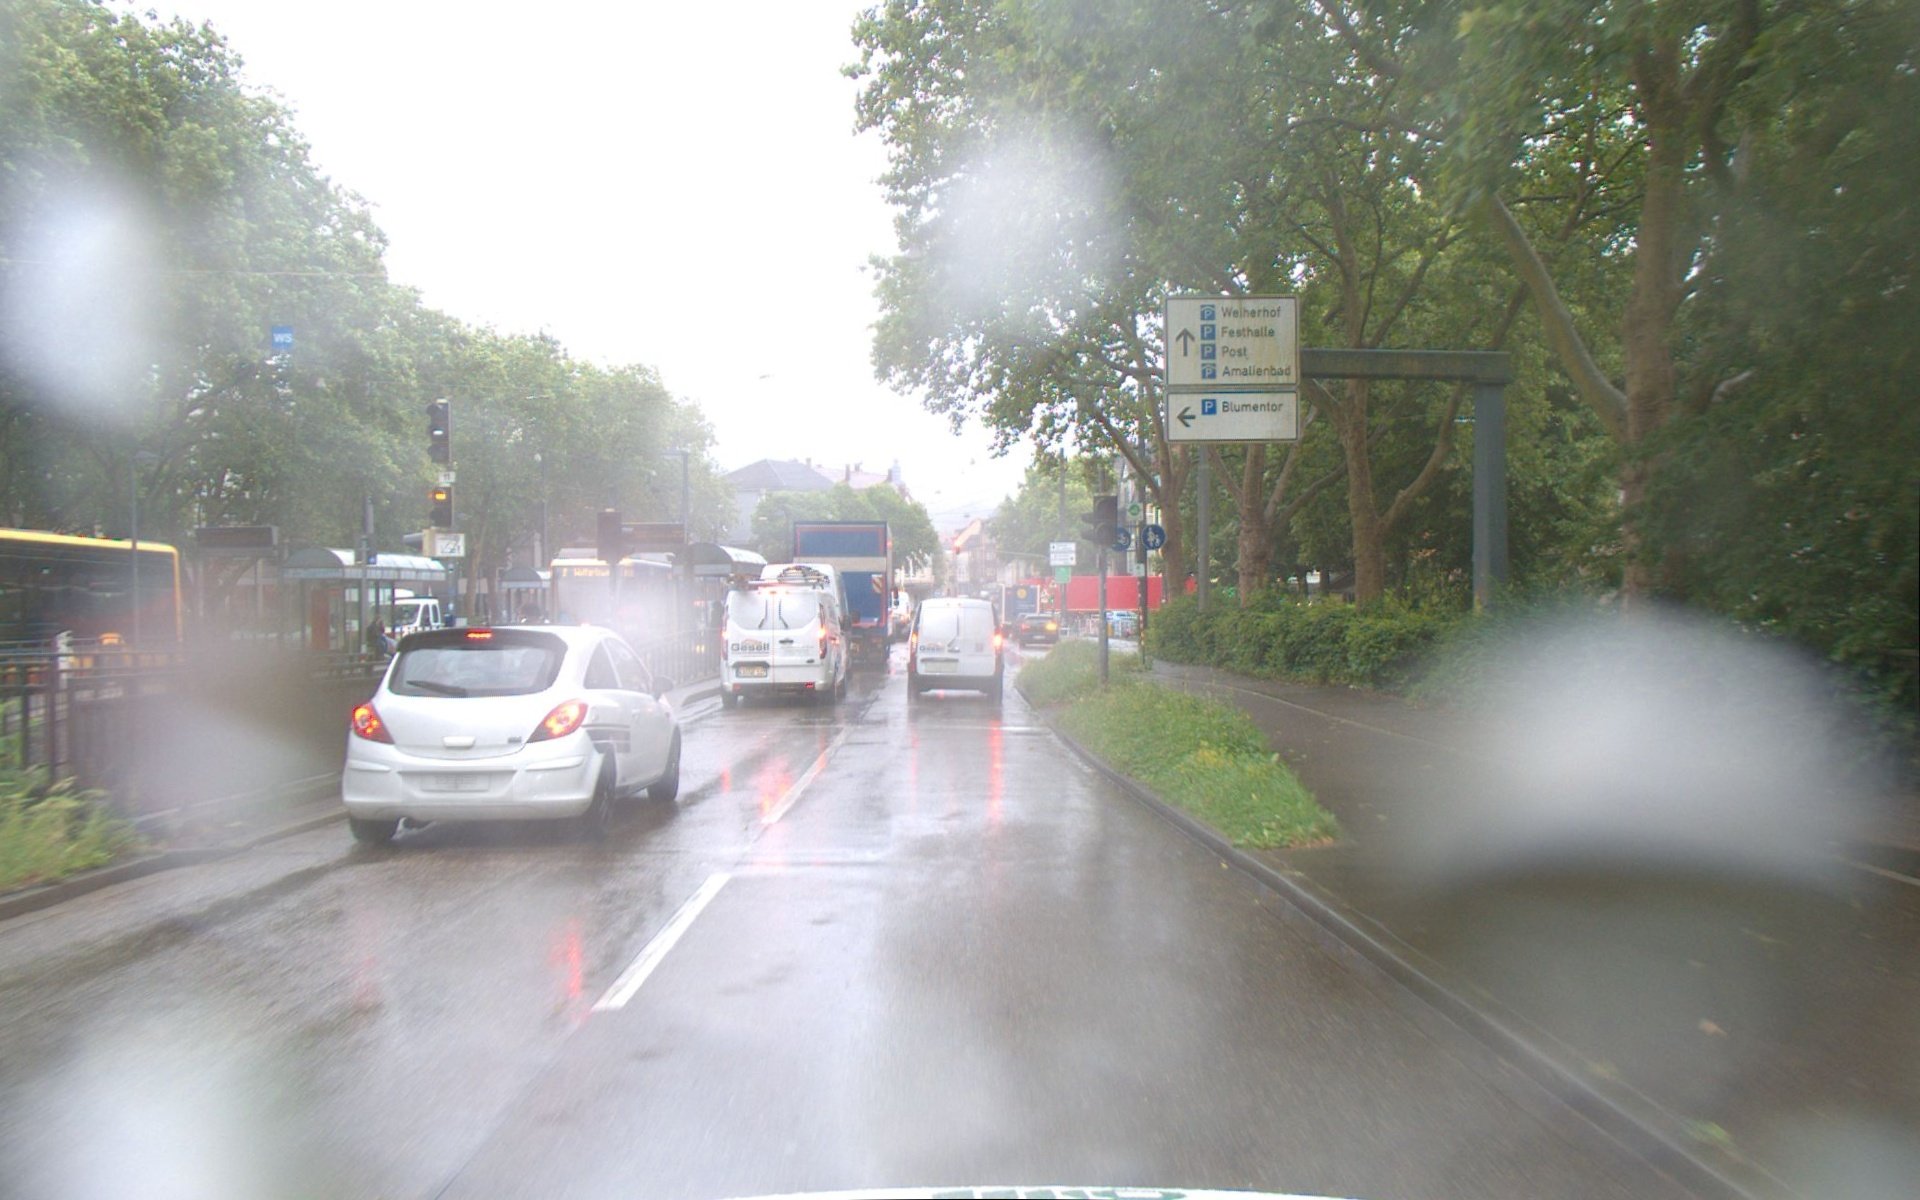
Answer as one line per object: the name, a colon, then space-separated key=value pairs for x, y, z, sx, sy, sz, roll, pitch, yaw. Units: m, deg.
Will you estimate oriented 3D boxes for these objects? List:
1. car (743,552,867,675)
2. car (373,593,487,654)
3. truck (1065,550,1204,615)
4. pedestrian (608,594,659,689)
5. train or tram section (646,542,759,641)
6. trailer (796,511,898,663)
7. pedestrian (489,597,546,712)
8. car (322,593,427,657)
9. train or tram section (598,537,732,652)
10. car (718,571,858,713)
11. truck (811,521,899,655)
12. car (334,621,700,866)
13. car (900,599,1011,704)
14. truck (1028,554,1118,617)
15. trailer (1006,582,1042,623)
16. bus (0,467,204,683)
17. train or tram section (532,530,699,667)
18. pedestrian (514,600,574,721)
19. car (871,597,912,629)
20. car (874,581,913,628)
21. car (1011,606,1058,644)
car: x=-3.467 y=0.328 z=38.120 sx=2.282 sy=2.602 sz=6.113 roll=0 pitch=-1 yaw=0
car: x=-19.008 y=0.817 z=59.624 sx=2.139 sy=2.049 sz=6.114 roll=-1 pitch=0 yaw=0
truck: x=14.721 y=-1.478 z=139.113 sx=11.121 sy=4.985 sz=3.292 roll=-2 pitch=1 yaw=13
pedestrian: x=-6.089 y=0.776 z=30.883 sx=0.774 sy=1.744 sz=0.770 roll=1 pitch=-2 yaw=-1
train or tram section: x=-9.654 y=-0.370 z=62.958 sx=2.919 sy=3.342 sz=8.982 roll=-2 pitch=1 yaw=-1
trailer: x=-3.109 y=-0.349 z=47.286 sx=2.538 sy=3.968 sz=7.634 roll=0 pitch=0 yaw=-1
pedestrian: x=-6.984 y=0.846 z=26.105 sx=0.663 sy=1.769 sz=0.807 roll=-1 pitch=-1 yaw=-1
car: x=-22.173 y=0.902 z=62.846 sx=1.952 sy=2.262 sz=5.225 roll=-1 pitch=0 yaw=2
train or tram section: x=-9.496 y=-0.232 z=54.259 sx=2.919 sy=3.342 sz=8.429 roll=-2 pitch=1 yaw=-1
car: x=-2.962 y=0.725 z=29.568 sx=1.953 sy=2.302 sz=5.288 roll=0 pitch=-1 yaw=0
truck: x=-3.218 y=-0.362 z=51.375 sx=2.528 sy=3.972 sz=3.999 roll=0 pitch=0 yaw=-1
car: x=-3.059 y=0.920 z=12.204 sx=1.690 sy=1.505 sz=3.805 roll=0 pitch=-1 yaw=0
car: x=-0.087 y=0.916 z=30.472 sx=1.919 sy=1.808 sz=3.569 roll=0 pitch=-1 yaw=-1
truck: x=9.599 y=-1.263 z=140.319 sx=7.004 sy=4.985 sz=3.292 roll=-2 pitch=1 yaw=13
trailer: x=3.704 y=0.174 z=96.598 sx=1.952 sy=2.357 sz=4.668 roll=0 pitch=-1 yaw=1
bus: x=-18.900 y=-0.433 z=32.214 sx=2.968 sy=3.906 sz=12.241 roll=0 pitch=0 yaw=-1
train or tram section: x=-9.329 y=-0.105 z=45.859 sx=2.901 sy=3.342 sz=8.358 roll=-2 pitch=1 yaw=-1
pedestrian: x=-6.247 y=0.896 z=24.852 sx=0.701 sy=1.775 sz=0.750 roll=-1 pitch=-1 yaw=-1
car: x=-3.479 y=0.663 z=84.419 sx=1.953 sy=1.606 sz=4.291 roll=1 pitch=0 yaw=-1
car: x=-3.576 y=0.230 z=89.940 sx=1.953 sy=2.485 sz=4.611 roll=0 pitch=0 yaw=-1
car: x=3.303 y=1.068 z=72.311 sx=1.952 sy=1.569 sz=4.002 roll=-1 pitch=0 yaw=4
